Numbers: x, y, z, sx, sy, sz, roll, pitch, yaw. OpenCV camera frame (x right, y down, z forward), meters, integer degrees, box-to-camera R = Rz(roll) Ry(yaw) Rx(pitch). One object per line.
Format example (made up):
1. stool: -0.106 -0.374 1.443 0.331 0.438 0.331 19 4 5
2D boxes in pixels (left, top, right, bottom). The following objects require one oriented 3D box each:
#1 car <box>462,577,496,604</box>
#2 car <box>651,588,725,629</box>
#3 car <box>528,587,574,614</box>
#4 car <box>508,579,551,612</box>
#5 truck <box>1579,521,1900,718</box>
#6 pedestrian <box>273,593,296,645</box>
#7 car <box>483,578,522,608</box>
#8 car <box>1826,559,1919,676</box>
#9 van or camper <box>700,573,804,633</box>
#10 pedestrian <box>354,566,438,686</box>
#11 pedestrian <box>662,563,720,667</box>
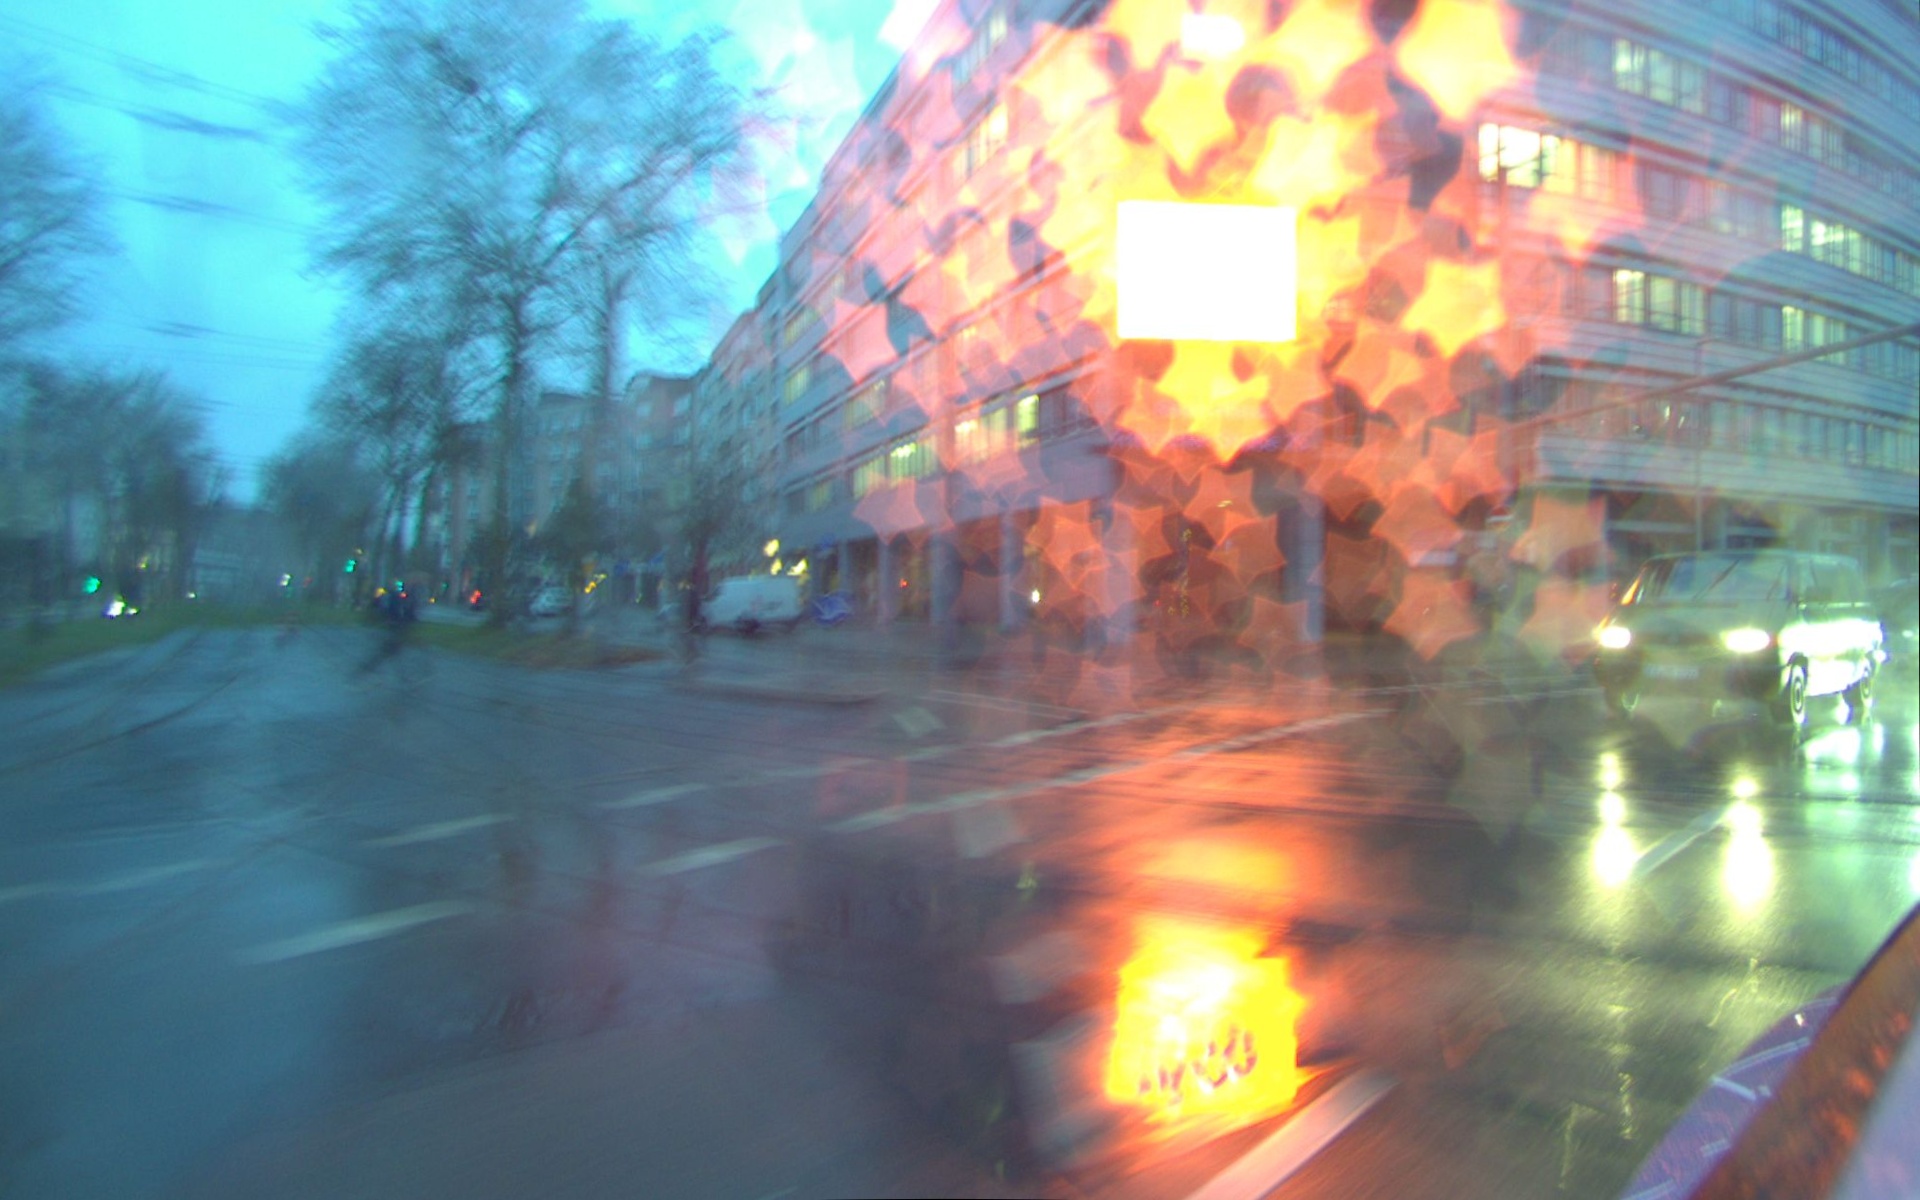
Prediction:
1. car: -36.214 -0.770 76.155 1.807 1.975 4.003 -1 1 -32
2. car: -10.833 0.324 40.175 1.612 1.547 3.842 -1 0 -36
3. car: -23.572 -0.027 58.259 1.807 1.451 4.003 -1 2 -32
4. car: -26.759 -0.311 62.862 1.807 1.975 4.003 -1 1 -32
5. truck: 9.405 0.205 12.086 4.532 1.942 1.909 0 -2 -38
6. pedestrian: -18.352 0.503 27.504 0.469 1.381 0.607 0 0 -29
7. car: -30.657 -0.503 67.779 1.807 1.975 4.003 -1 1 -32
8. car: 17.079 0.266 17.361 4.595 1.843 1.912 0 -1 -30
9. van or camper: -7.377 0.090 35.537 1.807 1.953 4.746 -1 0 -36
10. pedestrian: -8.856 0.383 15.909 1.129 1.809 0.778 0 0 -29
11. pedestrian: -4.851 0.267 18.275 0.790 1.834 0.647 0 0 19
